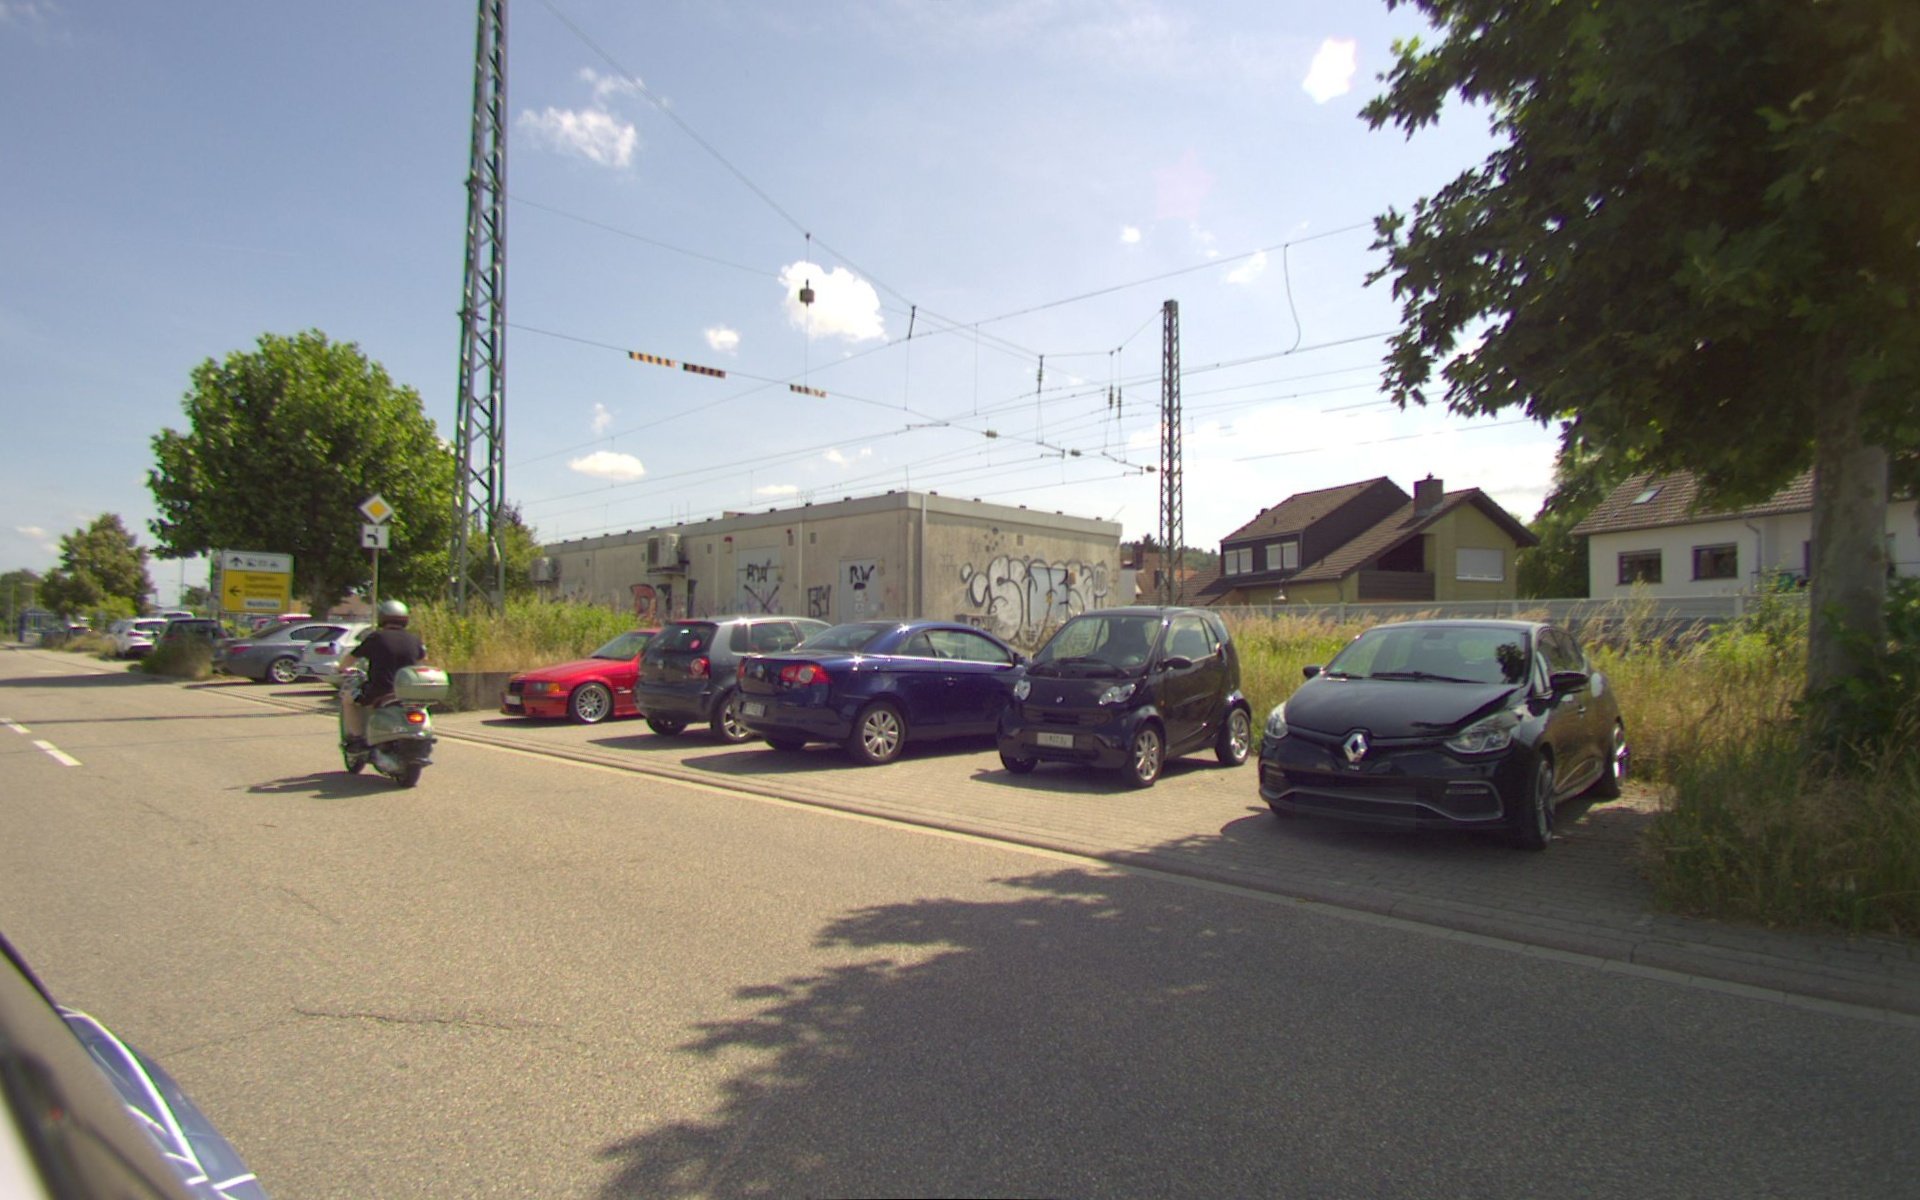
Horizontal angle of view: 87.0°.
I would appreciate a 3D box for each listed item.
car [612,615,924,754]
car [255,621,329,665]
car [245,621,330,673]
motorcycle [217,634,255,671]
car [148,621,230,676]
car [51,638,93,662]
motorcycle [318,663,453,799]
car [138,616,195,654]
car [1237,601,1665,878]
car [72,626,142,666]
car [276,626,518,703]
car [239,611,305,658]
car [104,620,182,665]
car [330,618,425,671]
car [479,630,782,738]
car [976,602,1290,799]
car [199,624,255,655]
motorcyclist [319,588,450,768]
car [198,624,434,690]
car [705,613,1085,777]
[{"bbox_3d":[-2.295,0.941,12.755,1.683,1.459,3.628,-2,-2,40],"label":"car"},{"bbox_3d":[-27.172,1.704,41.114,1.969,1.670,4.268,0,-1,-41],"label":"car"},{"bbox_3d":[-21.372,1.470,32.106,1.769,1.548,3.583,3,-3,-41],"label":"car"},{"bbox_3d":[-27.776,1.997,38.790,0.728,1.383,3.217,3,-4,-43],"label":"motorcycle"},{"bbox_3d":[-23.178,1.439,30.368,1.664,1.542,4.068,3,-3,-41],"label":"car"},{"bbox_3d":[-53.949,3.013,61.447,4.001,1.360,1.585,-2,-4,44],"label":"car"},{"bbox_3d":[-5.248,1.136,9.193,1.955,1.059,0.458,-1,-2,42],"label":"motorcycle"},{"bbox_3d":[-39.793,1.777,50.729,1.925,1.847,3.840,3,-4,-42],"label":"car"},{"bbox_3d":[3.836,0.843,7.539,1.787,1.484,4.028,-2,-3,43],"label":"car"},{"bbox_3d":[-35.273,1.885,41.806,3.961,1.556,1.770,-2,-4,44],"label":"car"},{"bbox_3d":[-11.607,1.262,21.070,1.785,1.412,4.031,-2,-2,40],"label":"car"},{"bbox_3d":[-31.068,1.554,45.653,1.823,2.029,4.004,3,-4,-43],"label":"car"},{"bbox_3d":[-30.285,1.570,37.481,1.782,1.576,4.265,3,-4,-45],"label":"car"},{"bbox_3d":[-19.566,1.495,33.903,1.969,1.650,4.092,3,-3,-41],"label":"car"},{"bbox_3d":[-4.797,1.172,15.134,1.674,1.379,4.028,-4,-4,42],"label":"car"},{"bbox_3d":[1.772,0.856,9.728,1.601,1.550,3.155,-1,-2,40],"label":"car"},{"bbox_3d":[-39.238,2.119,54.134,1.925,1.621,4.277,3,-3,-42],"label":"car"},{"bbox_3d":[-5.225,0.677,9.190,0.921,1.521,0.767,-2,-3,42],"label":"motorcyclist"},{"bbox_3d":[-15.189,1.344,24.080,1.786,1.421,4.381,-2,-3,40],"label":"car"},{"bbox_3d":[-0.576,0.922,11.021,3.898,1.461,1.788,2,-3,-43],"label":"car"}]
